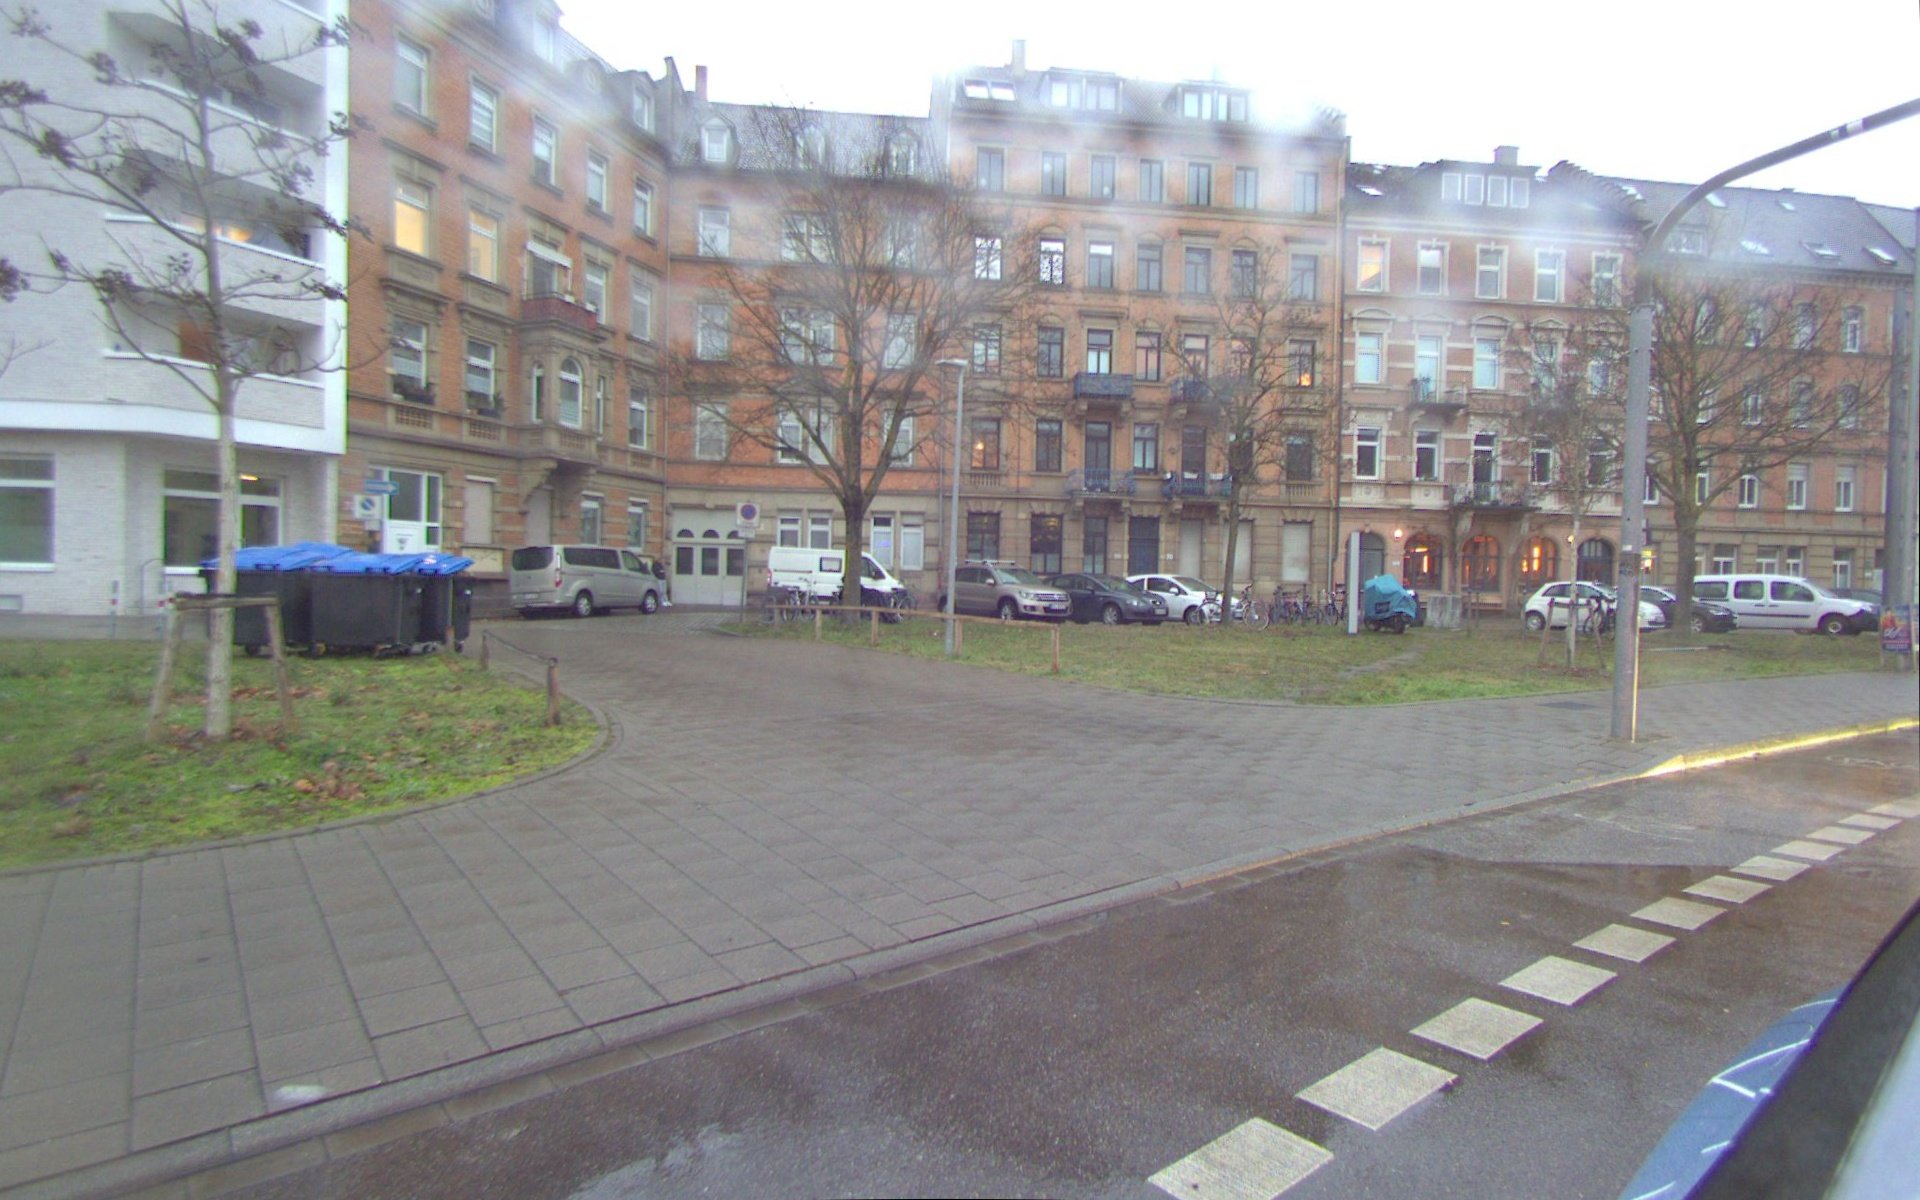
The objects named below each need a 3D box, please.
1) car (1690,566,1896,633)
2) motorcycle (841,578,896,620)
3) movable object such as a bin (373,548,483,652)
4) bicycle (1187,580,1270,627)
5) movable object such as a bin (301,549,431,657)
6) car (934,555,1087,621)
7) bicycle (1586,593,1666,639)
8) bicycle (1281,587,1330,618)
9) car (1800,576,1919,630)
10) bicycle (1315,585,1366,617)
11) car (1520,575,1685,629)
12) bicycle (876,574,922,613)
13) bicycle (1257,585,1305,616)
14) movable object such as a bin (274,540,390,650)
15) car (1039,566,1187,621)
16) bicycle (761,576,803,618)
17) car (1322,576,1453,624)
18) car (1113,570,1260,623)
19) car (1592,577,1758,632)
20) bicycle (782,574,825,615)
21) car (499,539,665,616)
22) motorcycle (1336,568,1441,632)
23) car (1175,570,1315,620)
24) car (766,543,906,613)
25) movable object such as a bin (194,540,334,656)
[{"bbox_3d":[24.150,-0.070,29.489,1.748,1.790,4.344,0,1,-37],"label":"car"},{"bbox_3d":[-2.319,-0.036,25.447,0.503,0.942,1.796,0,3,-36],"label":"motorcycle"},{"bbox_3d":[-8.033,-0.008,15.338,1.118,1.504,1.053,1,1,-1],"label":"movable object such as a bin"},{"bbox_3d":[6.471,0.076,24.479,1.879,1.031,0.535,2,3,14],"label":"bicycle"},{"bbox_3d":[-8.312,0.029,14.219,1.201,1.450,1.053,1,1,-1],"label":"movable object such as a bin"},{"bbox_3d":[1.232,-0.348,26.438,1.710,1.589,4.155,0,1,-37],"label":"car"},{"bbox_3d":[15.555,0.364,23.688,0.437,0.942,1.799,1,3,-8],"label":"bicycle"},{"bbox_3d":[10.024,0.048,29.445,0.436,0.787,1.800,1,3,-13],"label":"bicycle"},{"bbox_3d":[27.164,0.082,29.359,1.668,1.463,3.968,1,1,-31],"label":"car"},{"bbox_3d":[11.164,0.023,29.765,0.386,0.827,1.800,1,3,-16],"label":"bicycle"},{"bbox_3d":[18.326,0.009,28.983,1.492,1.417,3.688,0,1,-36],"label":"car"},{"bbox_3d":[-1.666,-0.183,27.390,0.437,0.942,1.798,0,3,-30],"label":"bicycle"},{"bbox_3d":[9.346,-0.002,29.507,0.436,0.804,1.800,1,3,-13],"label":"bicycle"},{"bbox_3d":[-9.543,-0.079,15.421,1.118,1.595,1.053,1,1,-1],"label":"movable object such as a bin"},{"bbox_3d":[3.932,-0.216,26.539,1.710,1.322,3.687,0,1,-37],"label":"car"},{"bbox_3d":[-4.466,-0.102,25.303,0.437,0.942,1.798,0,3,-30],"label":"bicycle"},{"bbox_3d":[12.750,-0.042,30.325,1.492,1.322,3.301,0,1,-36],"label":"car"},{"bbox_3d":[6.066,-0.132,27.421,1.638,1.322,3.687,0,1,-37],"label":"car"},{"bbox_3d":[20.905,0.087,29.729,1.492,1.455,3.688,0,1,-36],"label":"car"},{"bbox_3d":[-3.978,-0.159,25.607,0.437,0.942,1.798,0,3,-30],"label":"bicycle"},{"bbox_3d":[-10.529,-0.636,28.598,1.919,1.966,4.569,1,1,20],"label":"car"},{"bbox_3d":[10.364,-0.040,24.597,0.866,1.362,2.364,0,4,-22],"label":"motorcycle"},{"bbox_3d":[8.041,-0.171,28.829,1.493,1.322,3.687,0,1,-37],"label":"car"},{"bbox_3d":[-4.241,-0.746,34.449,4.565,2.216,2.003,1,1,-8],"label":"car"},{"bbox_3d":[-9.617,-0.040,14.036,1.229,1.529,1.053,1,1,-1],"label":"movable object such as a bin"}]
